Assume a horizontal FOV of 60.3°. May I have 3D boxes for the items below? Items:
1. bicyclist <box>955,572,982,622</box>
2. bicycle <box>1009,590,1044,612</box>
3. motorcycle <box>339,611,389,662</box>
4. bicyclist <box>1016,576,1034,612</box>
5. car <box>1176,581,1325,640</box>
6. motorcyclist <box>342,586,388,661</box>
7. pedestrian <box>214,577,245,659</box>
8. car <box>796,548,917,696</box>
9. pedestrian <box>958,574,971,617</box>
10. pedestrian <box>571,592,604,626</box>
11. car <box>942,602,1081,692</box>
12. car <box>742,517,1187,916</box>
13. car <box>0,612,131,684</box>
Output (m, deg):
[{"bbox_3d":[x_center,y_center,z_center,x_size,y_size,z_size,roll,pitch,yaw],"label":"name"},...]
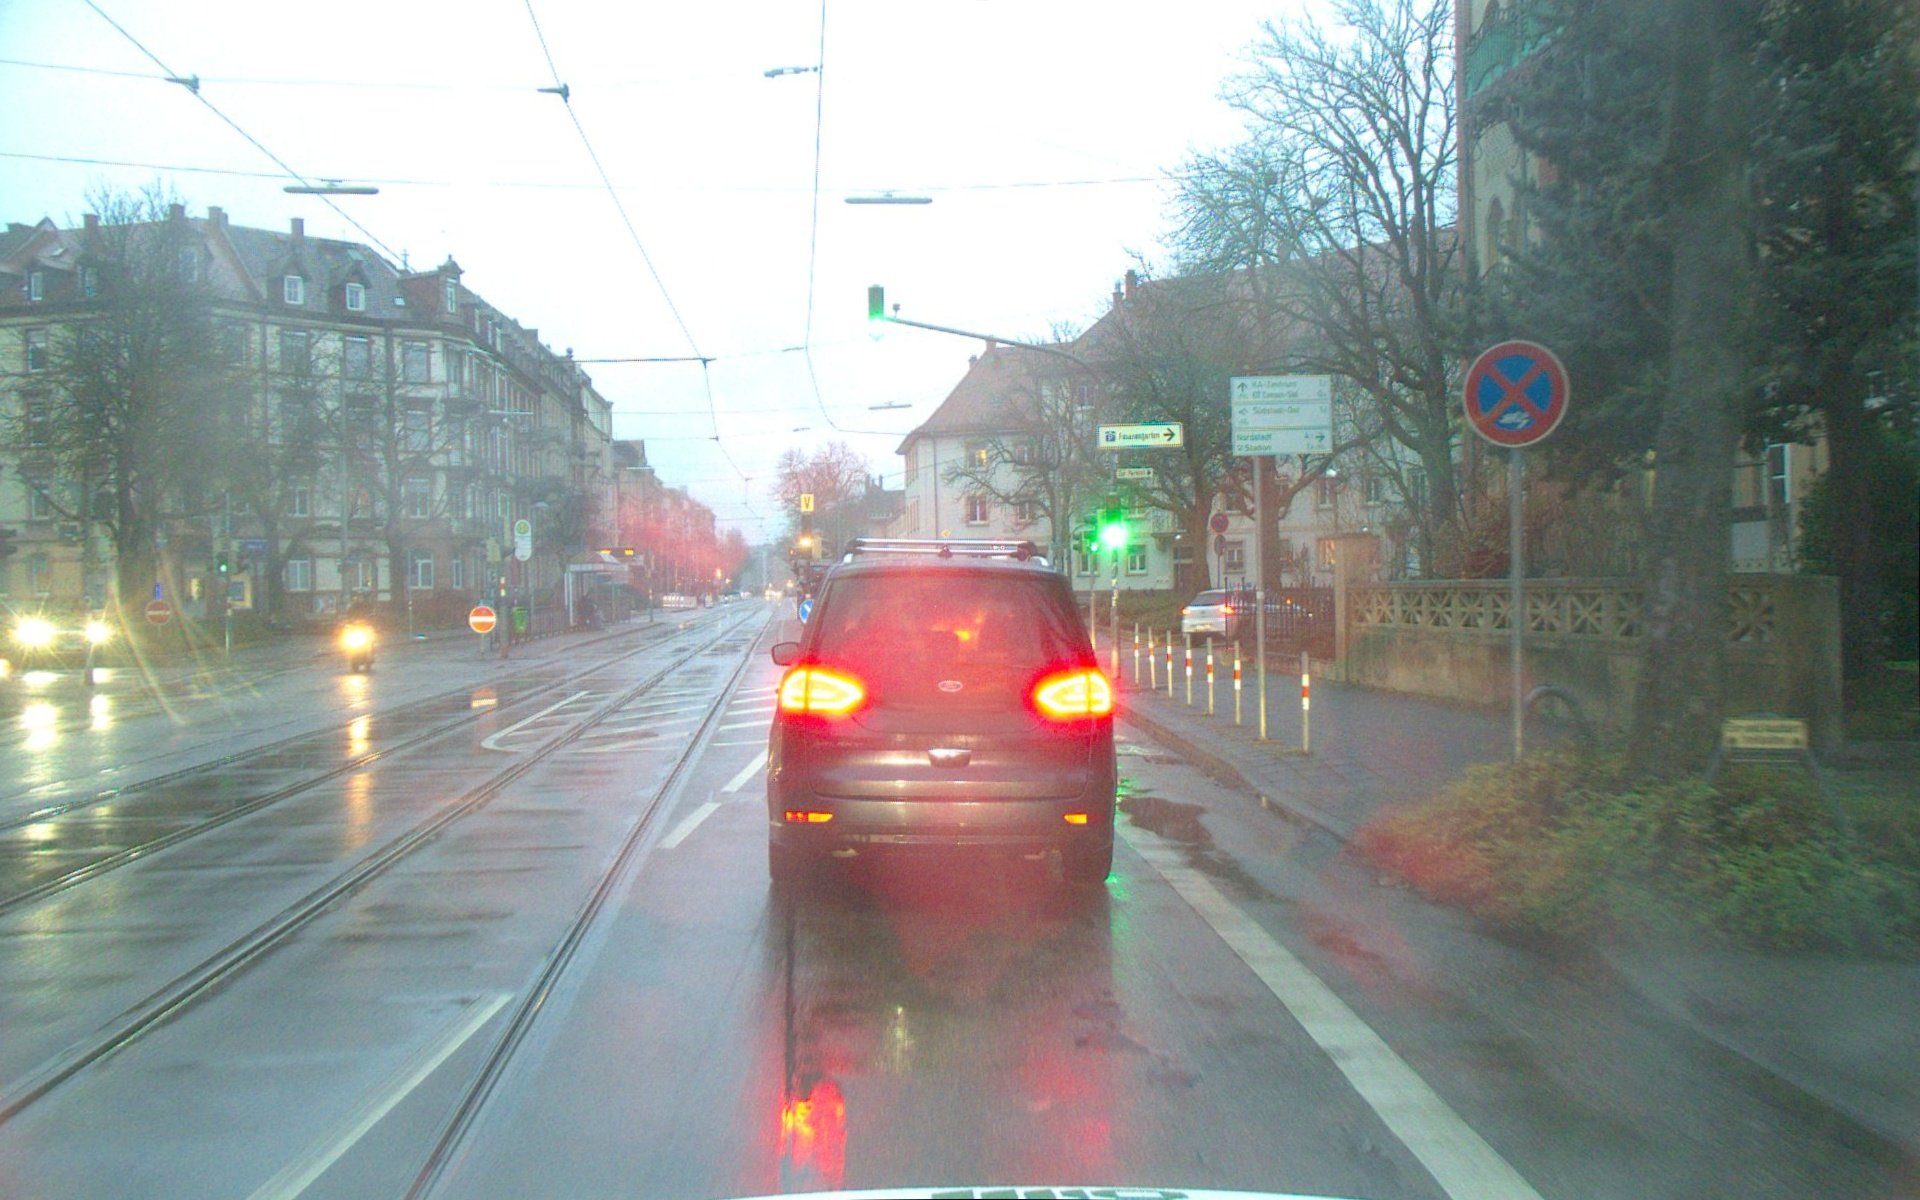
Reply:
[{"bbox_3d":[0.285,-0.097,57.615,0.704,1.691,1.054,3,0,-10],"label":"bicyclist"},{"bbox_3d":[3.672,0.045,91.600,1.814,1.204,0.713,-1,0,27],"label":"bicycle"},{"bbox_3d":[-12.742,0.767,35.385,0.842,1.009,1.911,-1,1,-16],"label":"motorcycle"},{"bbox_3d":[3.606,-0.344,91.623,0.791,1.952,0.707,-1,0,26],"label":"bicyclist"},{"bbox_3d":[7.448,0.238,42.232,3.964,1.400,1.645,-1,1,-41],"label":"car"},{"bbox_3d":[-12.737,0.489,35.406,0.830,1.575,1.011,-1,0,-16],"label":"motorcyclist"},{"bbox_3d":[-18.486,0.444,41.855,0.695,2.049,0.655,-1,0,-25],"label":"pedestrian"},{"bbox_3d":[-1.647,0.312,25.284,1.675,2.049,4.294,0,0,-5],"label":"car"},{"bbox_3d":[0.203,-0.221,80.057,0.584,2.049,0.631,0,0,-2],"label":"pedestrian"},{"bbox_3d":[-13.549,0.310,60.146,1.027,1.221,0.884,0,0,-5],"label":"pedestrian"},{"bbox_3d":[1.111,0.897,33.428,1.673,1.691,4.001,-1,0,19],"label":"car"},{"bbox_3d":[-0.108,0.531,10.048,2.062,1.848,4.657,1,0,-4],"label":"car"},{"bbox_3d":[-23.280,1.199,42.497,3.921,1.702,2.014,-1,0,37],"label":"car"}]
